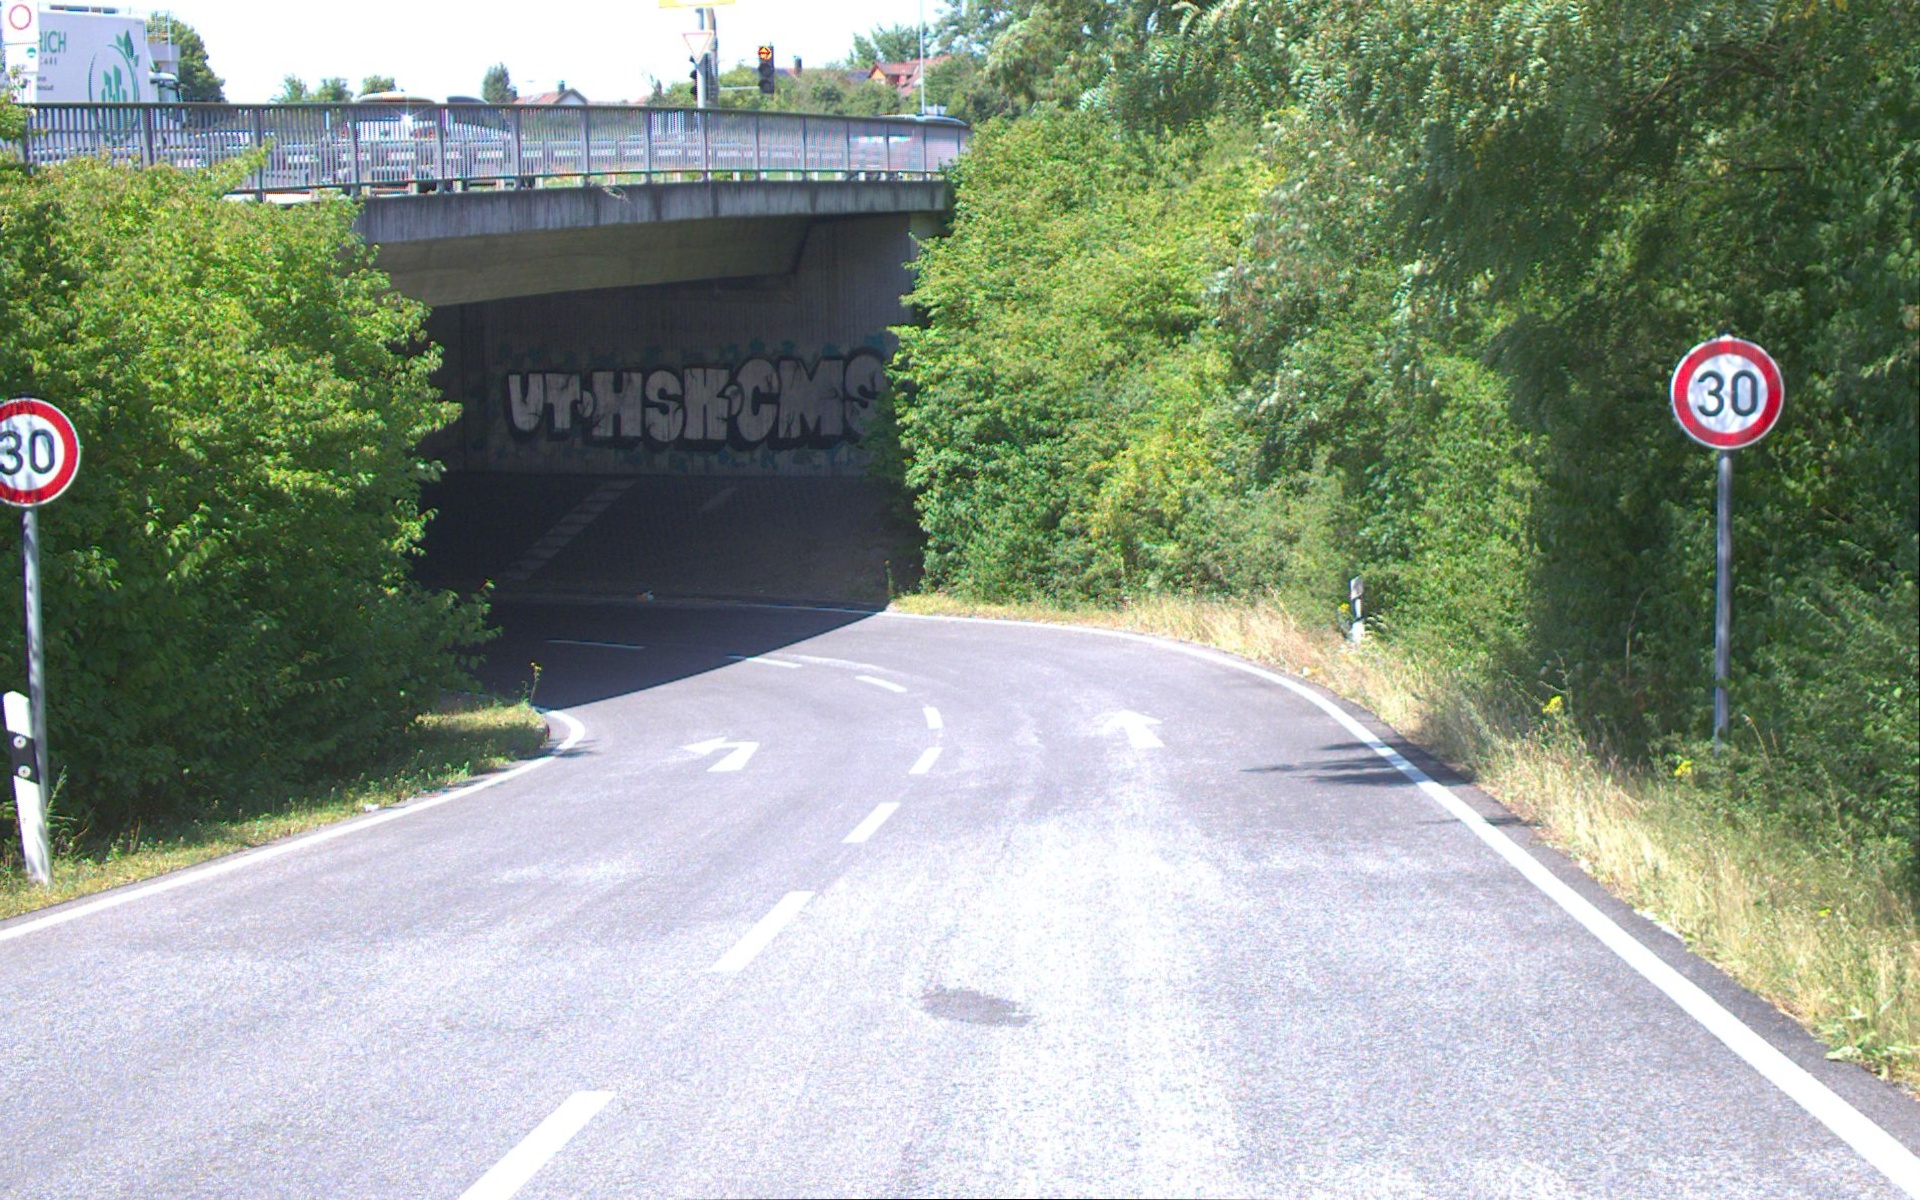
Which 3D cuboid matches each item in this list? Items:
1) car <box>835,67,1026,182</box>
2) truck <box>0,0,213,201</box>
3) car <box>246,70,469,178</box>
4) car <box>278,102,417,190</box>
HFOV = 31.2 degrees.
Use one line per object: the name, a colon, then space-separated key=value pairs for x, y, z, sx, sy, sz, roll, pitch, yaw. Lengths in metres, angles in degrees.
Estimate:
car: x=-0.544 y=-9.414 z=68.348 sx=1.997 sy=2.006 sz=3.994 roll=0 pitch=5 yaw=30
truck: x=-17.131 y=-9.278 z=62.669 sx=3.029 sy=3.576 sz=8.899 roll=-1 pitch=4 yaw=14
car: x=-8.069 y=-6.384 z=46.336 sx=1.612 sy=1.185 sz=3.477 roll=-1 pitch=4 yaw=15
car: x=-13.688 y=-10.147 z=77.019 sx=1.994 sy=1.612 sz=4.000 roll=1 pitch=3 yaw=7
